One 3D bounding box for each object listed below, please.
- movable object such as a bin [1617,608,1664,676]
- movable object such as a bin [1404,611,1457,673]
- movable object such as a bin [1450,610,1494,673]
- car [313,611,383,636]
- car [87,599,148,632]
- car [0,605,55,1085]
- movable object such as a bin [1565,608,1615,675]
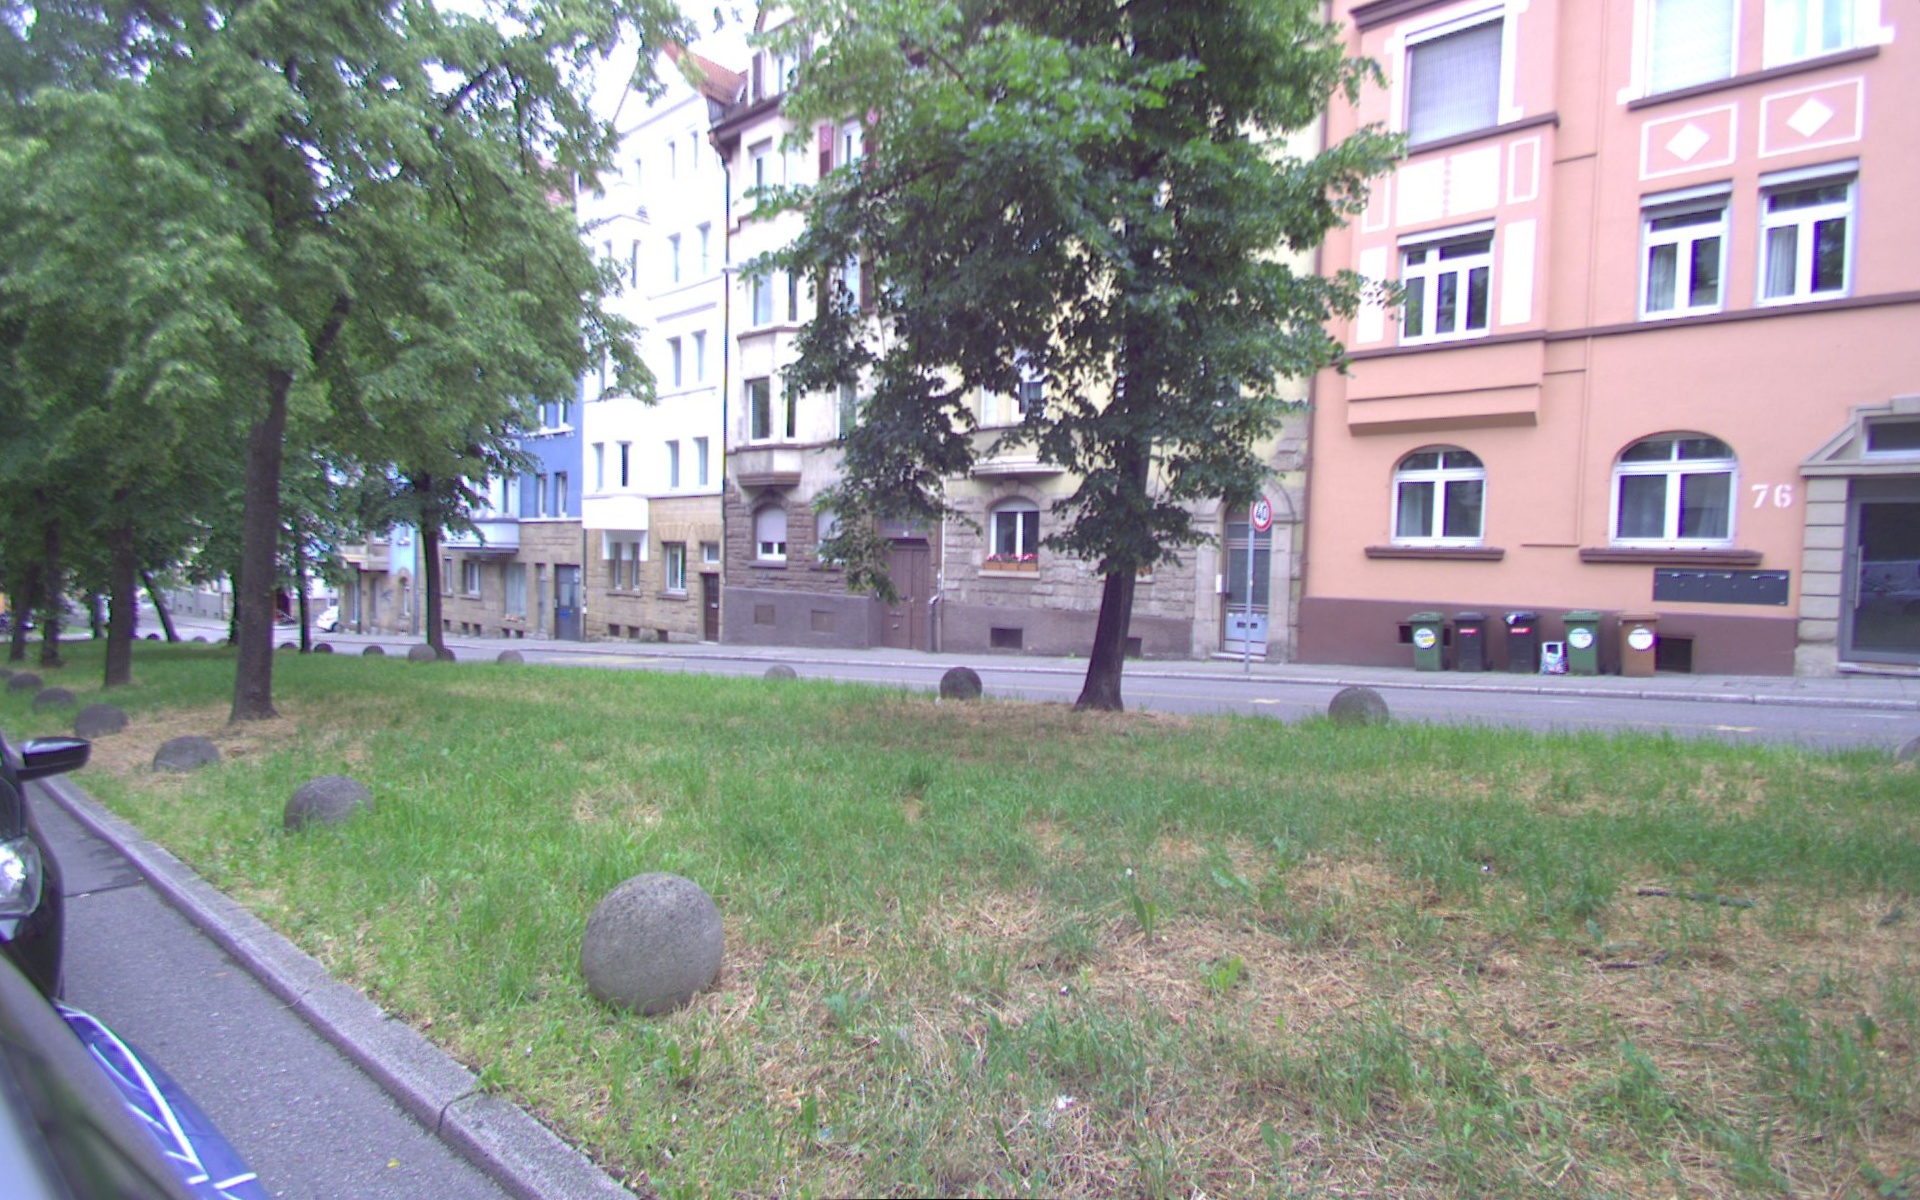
[{"bbox_3d":[9.641,0.584,14.341,0.514,0.928,0.750,-1,0,36],"label":"movable object such as a bin"},{"bbox_3d":[7.524,0.652,16.183,0.617,0.955,0.610,-1,0,40],"label":"movable object such as a bin"},{"bbox_3d":[7.998,0.635,15.811,0.531,0.953,0.575,-1,0,35],"label":"movable object such as a bin"},{"bbox_3d":[-35.368,1.314,58.484,3.244,1.341,1.674,-1,0,-40],"label":"car"},{"bbox_3d":[-53.403,0.975,64.100,5.301,1.959,1.974,-2,0,39],"label":"car"},{"bbox_3d":[-4.644,0.754,3.689,3.295,1.476,1.590,-1,-2,41],"label":"car"},{"bbox_3d":[9.180,0.590,14.735,0.558,0.928,0.648,-1,0,36],"label":"movable object such as a bin"}]
